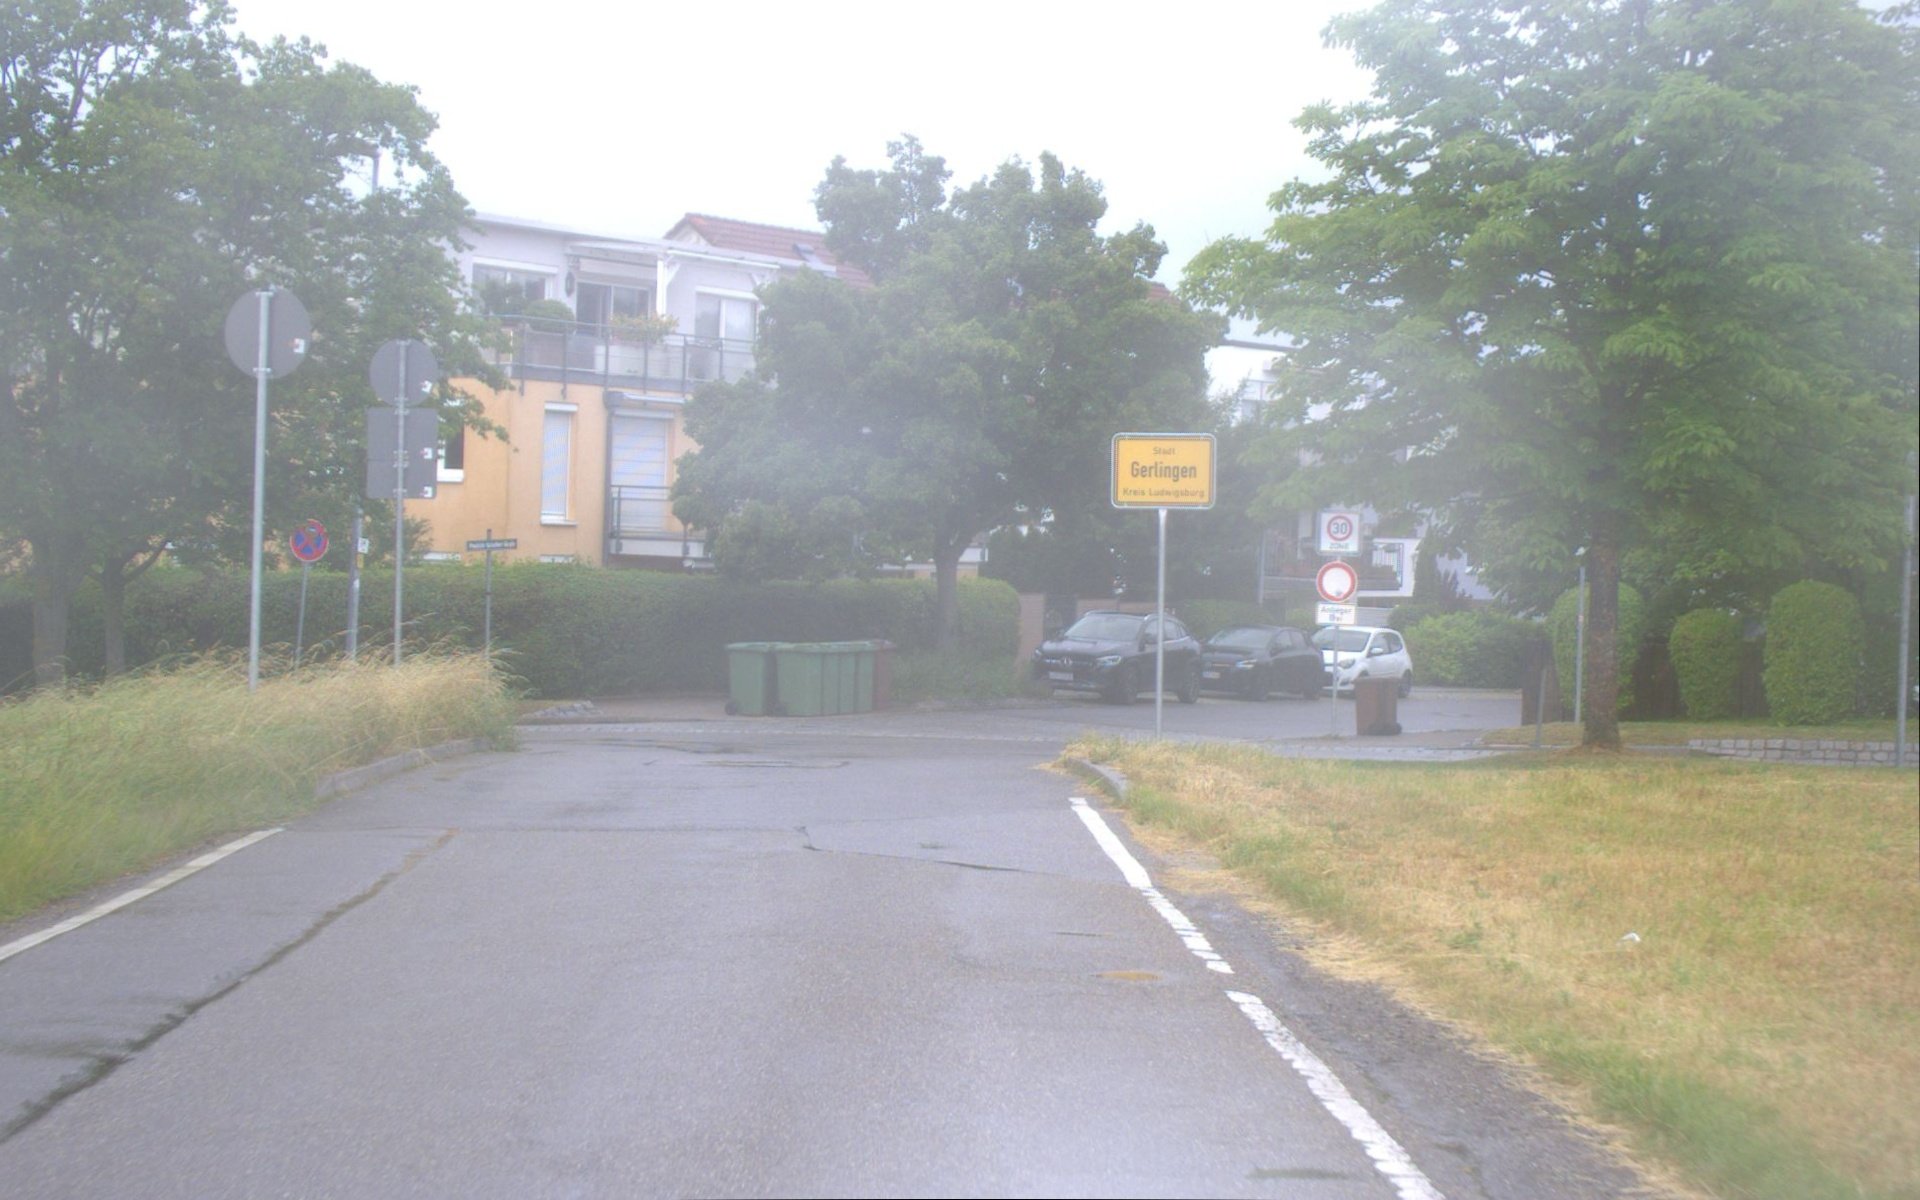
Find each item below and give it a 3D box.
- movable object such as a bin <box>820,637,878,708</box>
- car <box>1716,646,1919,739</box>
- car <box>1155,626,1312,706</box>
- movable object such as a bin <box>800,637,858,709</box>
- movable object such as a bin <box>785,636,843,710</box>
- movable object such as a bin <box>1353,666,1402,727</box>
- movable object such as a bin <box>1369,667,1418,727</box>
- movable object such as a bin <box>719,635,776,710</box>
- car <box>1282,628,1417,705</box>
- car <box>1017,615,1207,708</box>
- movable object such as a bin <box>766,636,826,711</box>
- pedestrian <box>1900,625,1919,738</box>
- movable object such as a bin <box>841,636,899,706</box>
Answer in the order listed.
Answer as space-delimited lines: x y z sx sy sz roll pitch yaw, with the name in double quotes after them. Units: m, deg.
-1.675 1.095 52.139 0.695 1.051 0.605 1 0 20 "movable object such as a bin"
16.179 1.676 63.376 3.995 1.658 1.776 0 -1 35 "car"
5.350 1.292 66.893 1.638 1.404 3.598 4 0 29 "car"
-1.958 1.093 51.557 0.695 1.063 0.578 1 0 20 "movable object such as a bin"
-2.163 1.083 50.991 0.695 1.071 0.543 1 0 20 "movable object such as a bin"
6.569 1.521 54.089 0.571 0.928 0.529 2 -1 33 "movable object such as a bin"
6.883 1.536 54.560 0.571 0.928 0.529 2 -1 33 "movable object such as a bin"
-3.128 1.064 50.630 0.666 1.070 0.543 1 0 20 "movable object such as a bin"
8.091 1.392 71.288 1.513 1.471 3.268 4 0 30 "car"
2.768 1.107 61.688 1.778 1.513 4.131 4 0 27 "car"
-2.405 1.076 50.428 0.695 1.071 0.601 1 0 20 "movable object such as a bin"
17.167 1.449 61.479 0.558 2.007 0.524 0 0 27 "pedestrian"
-1.381 1.093 52.810 0.695 1.051 0.605 1 0 20 "movable object such as a bin"
